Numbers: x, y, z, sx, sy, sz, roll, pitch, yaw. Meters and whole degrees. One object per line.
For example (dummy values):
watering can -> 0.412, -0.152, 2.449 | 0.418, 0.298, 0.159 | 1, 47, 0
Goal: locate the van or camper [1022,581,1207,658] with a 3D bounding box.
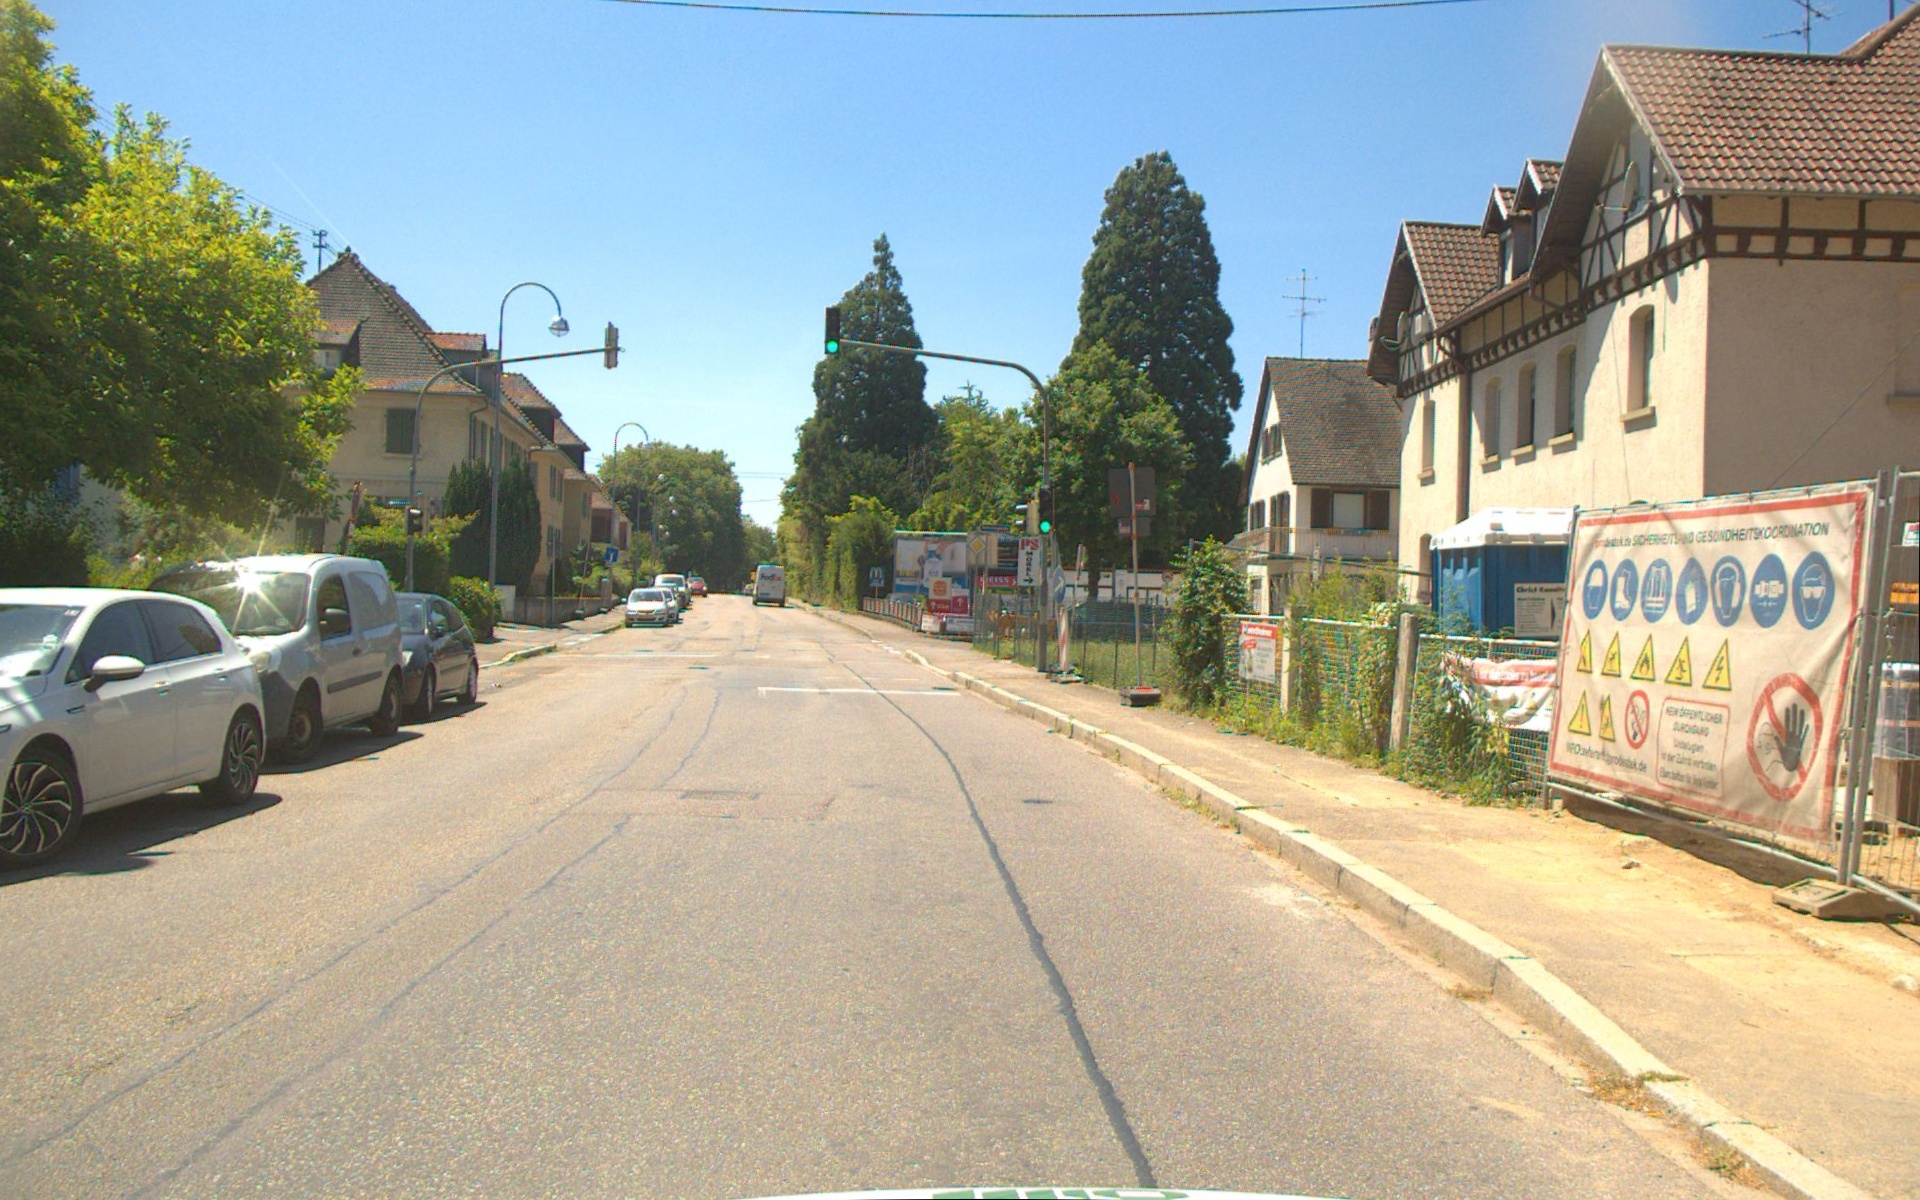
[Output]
van or camper -> 4.640, 0.592, 49.768 | 5.162, 2.049, 1.903 | 3, 0, -13

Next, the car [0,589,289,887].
car -> -5.614, 0.672, 9.850 | 1.647, 1.466, 4.245 | 0, 0, -2

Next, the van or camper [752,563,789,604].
van or camper -> -12.342, -1.075, 107.465 | 2.221, 2.572, 4.749 | 0, 0, -9

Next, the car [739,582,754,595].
car -> -29.837, -1.590, 231.270 | 1.957, 1.691, 3.992 | 2, 0, -9

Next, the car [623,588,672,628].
car -> -11.999, 0.285, 63.671 | 1.727, 1.473, 3.916 | 0, 0, -9

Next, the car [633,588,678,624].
car -> -12.595, 0.217, 68.644 | 1.761, 1.426, 4.209 | 0, 0, -10

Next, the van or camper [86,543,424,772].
van or camper -> -6.304, 0.450, 15.282 | 1.648, 1.835, 3.982 | 0, 0, -4

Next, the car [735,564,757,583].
car -> -20.528, -2.552, 158.463 | 1.957, 1.691, 3.992 | 2, 0, -9

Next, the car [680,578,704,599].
car -> -21.247, -0.903, 131.318 | 1.780, 1.593, 3.690 | 0, 0, -8

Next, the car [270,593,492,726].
car -> -6.861, 0.632, 19.979 | 1.648, 1.437, 3.922 | 0, 0, -6
